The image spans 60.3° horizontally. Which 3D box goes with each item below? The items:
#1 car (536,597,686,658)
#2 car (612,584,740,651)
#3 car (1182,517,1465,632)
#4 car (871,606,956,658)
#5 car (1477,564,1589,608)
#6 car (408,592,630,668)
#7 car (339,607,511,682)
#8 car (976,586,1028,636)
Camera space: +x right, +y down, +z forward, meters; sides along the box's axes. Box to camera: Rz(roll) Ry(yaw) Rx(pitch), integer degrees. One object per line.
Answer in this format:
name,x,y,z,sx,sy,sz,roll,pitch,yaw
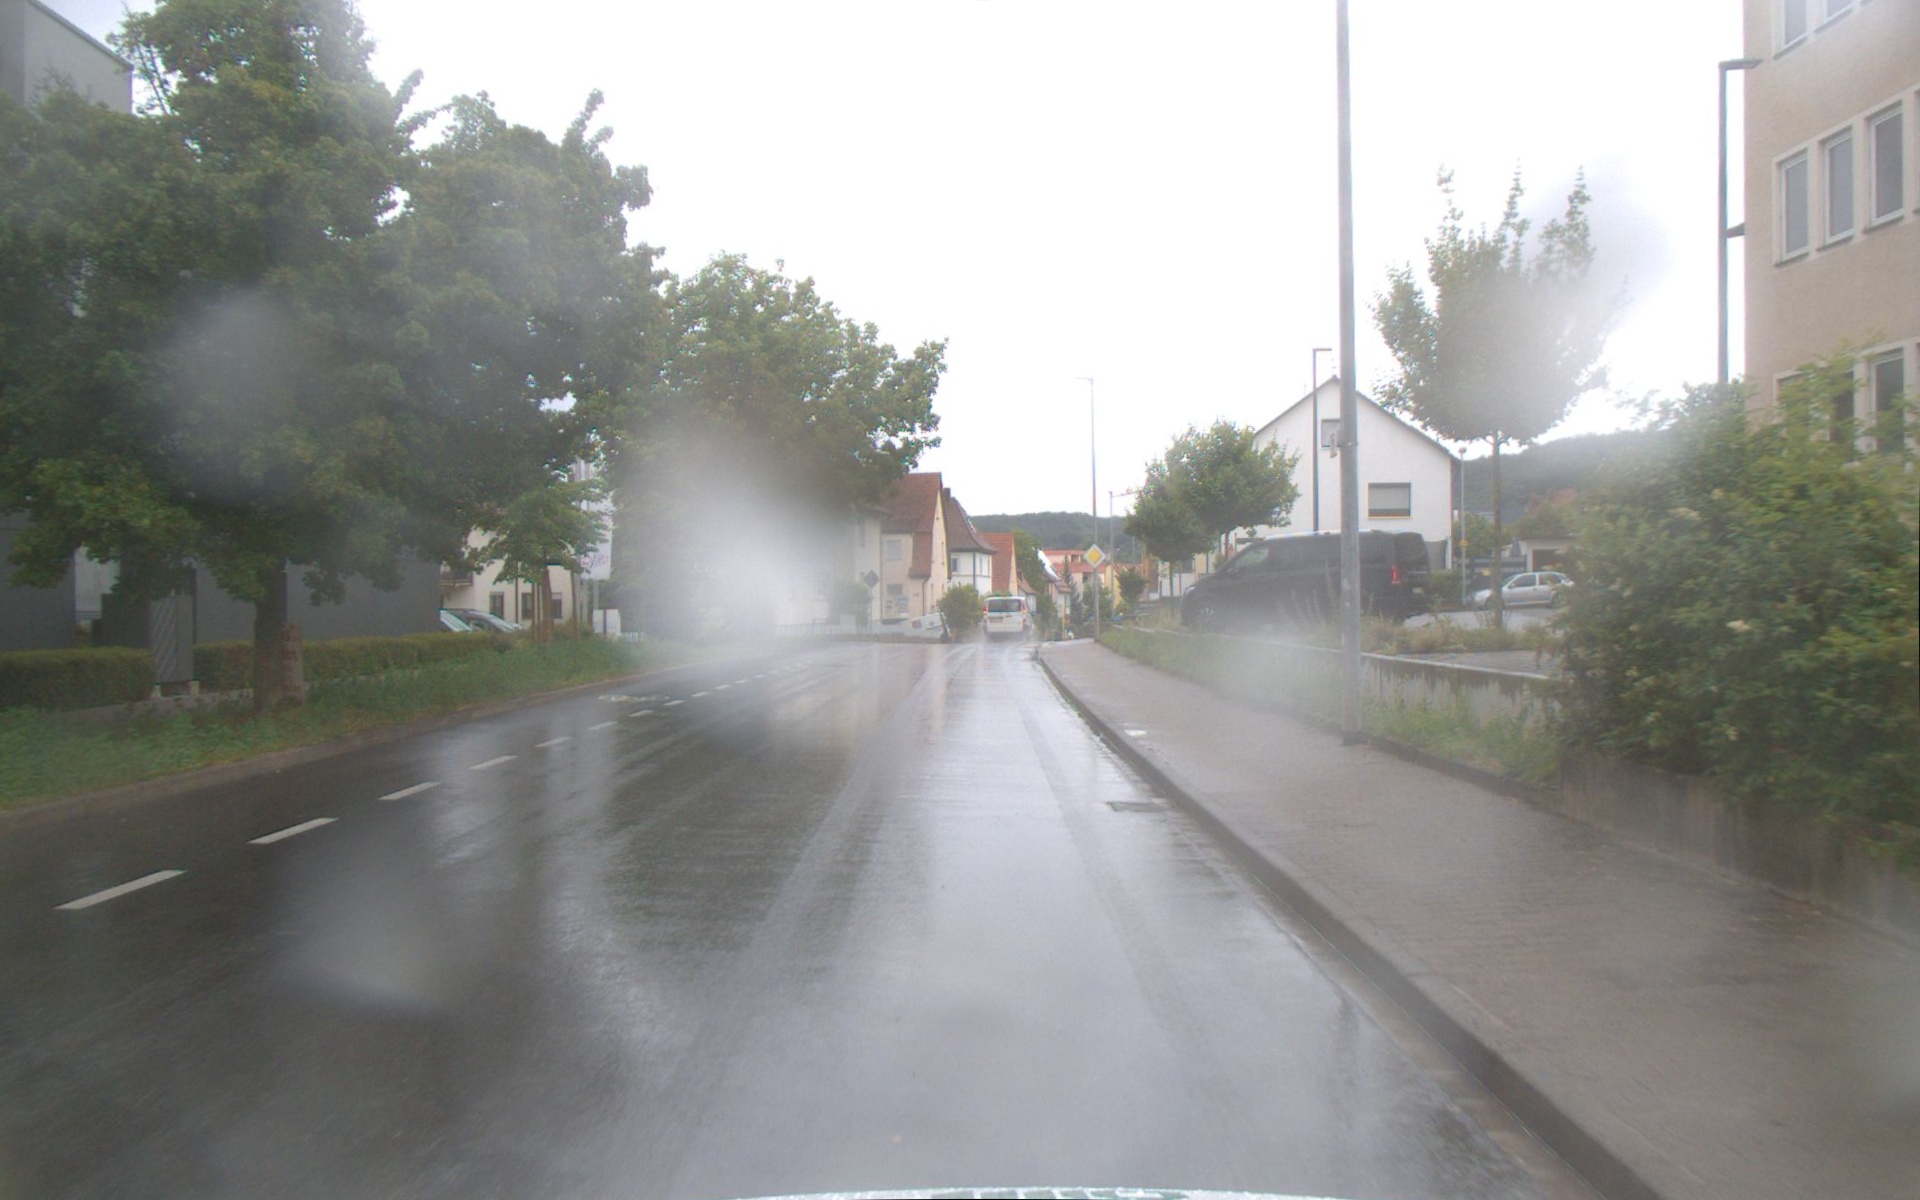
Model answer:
car,-7.402,0.582,35.241,2.848,1.179,1.471,-2,-1,0
car,-6.838,0.438,39.954,2.848,1.480,1.253,-2,-3,0
car,7.104,-0.447,32.601,5.016,1.953,2.045,-3,-1,38
car,-2.737,1.895,98.341,4.466,2.044,2.162,-13,0,7
car,21.743,-0.521,62.832,3.688,1.480,1.609,-2,-1,5
car,-8.448,0.576,31.867,3.820,1.306,1.582,-2,-1,0
car,-15.447,1.266,47.961,4.308,2.048,2.153,1,1,-3
car,1.763,0.418,68.541,2.073,1.921,4.503,1,1,2
